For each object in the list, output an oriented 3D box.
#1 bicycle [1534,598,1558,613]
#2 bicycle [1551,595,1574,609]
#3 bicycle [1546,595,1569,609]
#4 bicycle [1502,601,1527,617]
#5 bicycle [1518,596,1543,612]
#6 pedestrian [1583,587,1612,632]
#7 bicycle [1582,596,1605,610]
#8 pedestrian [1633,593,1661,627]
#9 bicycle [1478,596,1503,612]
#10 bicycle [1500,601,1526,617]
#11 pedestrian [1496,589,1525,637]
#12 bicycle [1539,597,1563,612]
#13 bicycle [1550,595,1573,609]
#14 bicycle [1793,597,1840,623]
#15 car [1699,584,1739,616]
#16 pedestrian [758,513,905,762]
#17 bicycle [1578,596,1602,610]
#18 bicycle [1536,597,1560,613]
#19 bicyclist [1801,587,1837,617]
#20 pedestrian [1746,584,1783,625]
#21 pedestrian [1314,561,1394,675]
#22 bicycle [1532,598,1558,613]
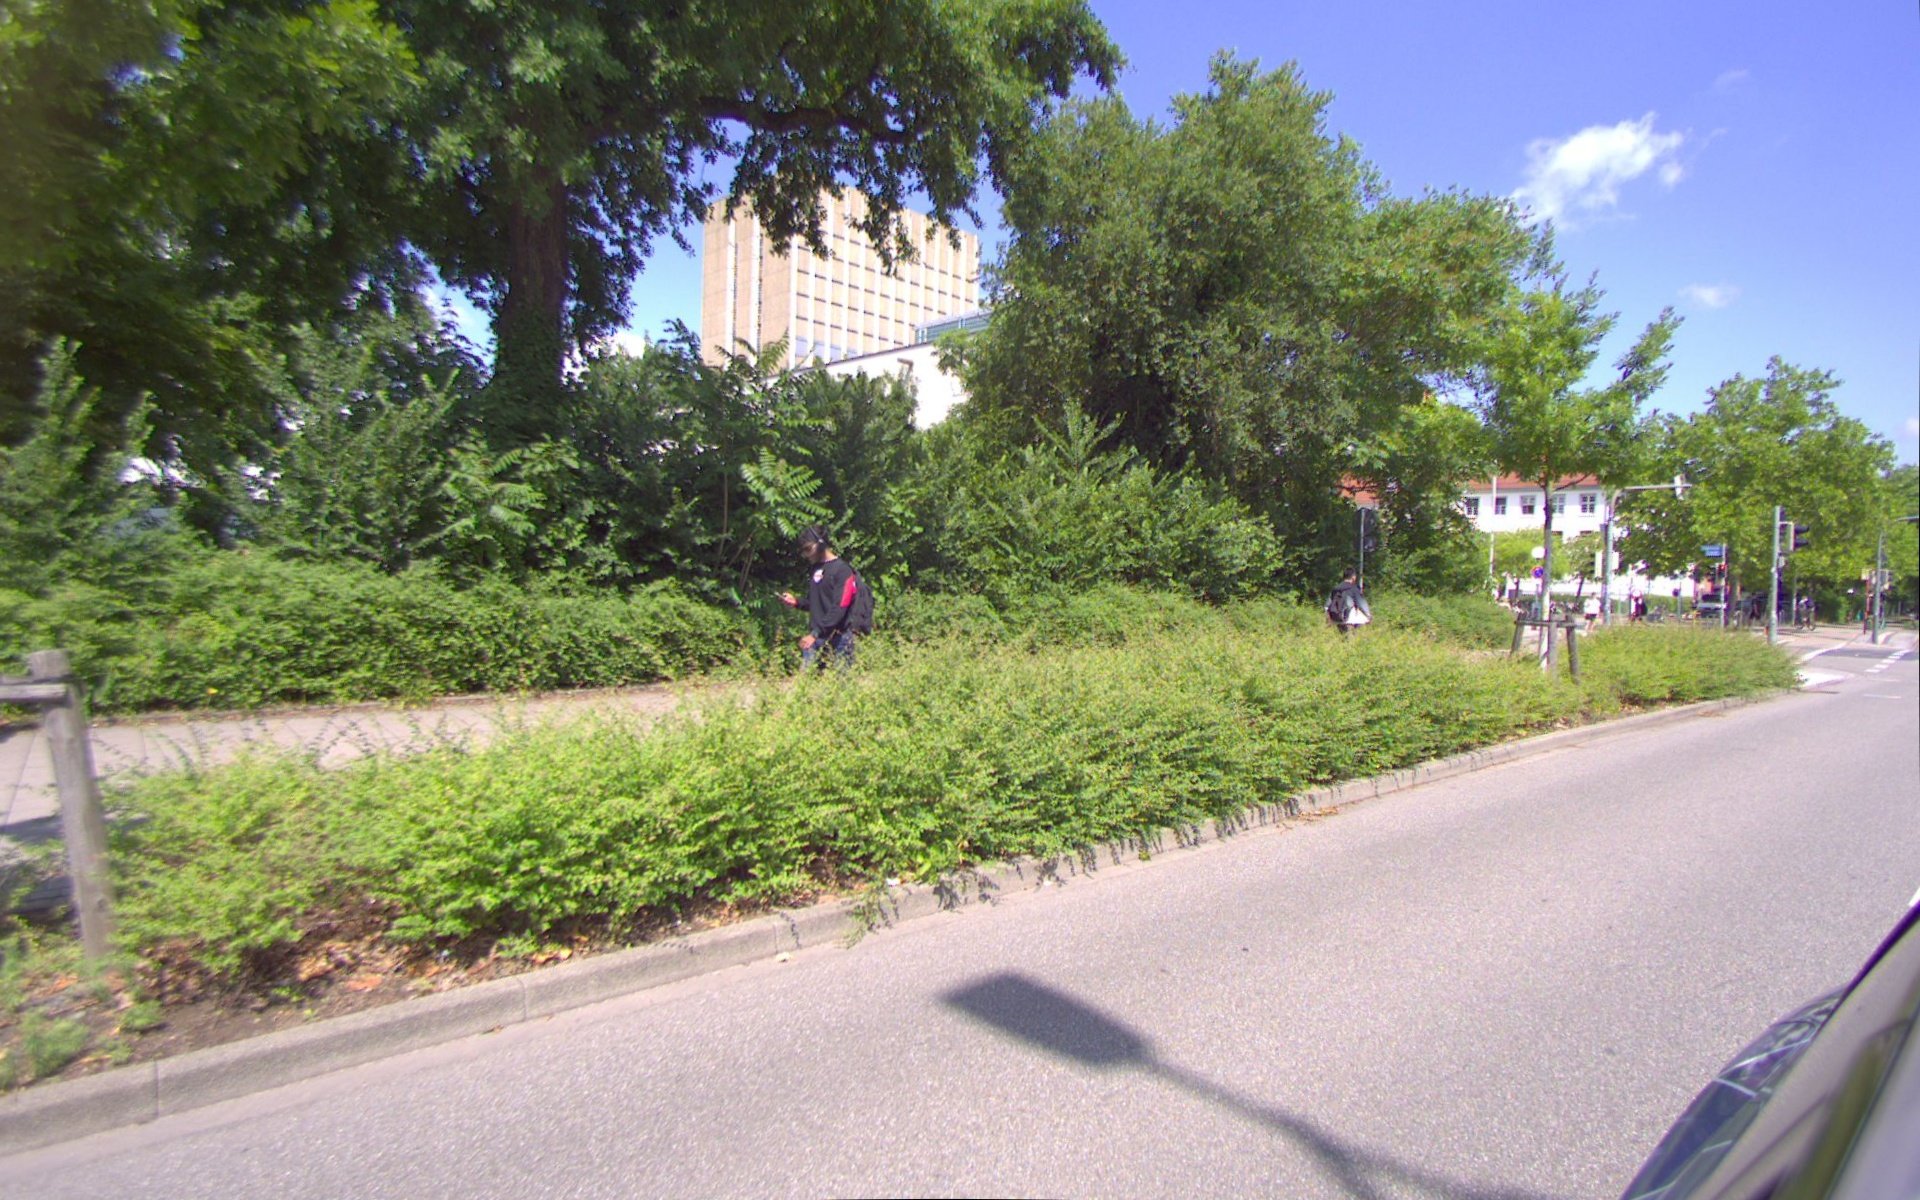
[{"bbox_3d":[39.129,0.362,67.572,1.367,0.963,0.347,2,1,43],"label":"bicycle"},{"bbox_3d":[45.733,0.143,76.865,1.424,0.963,0.347,2,1,43],"label":"bicycle"},{"bbox_3d":[44.949,0.154,76.150,1.424,0.963,0.347,2,1,43],"label":"bicycle"},{"bbox_3d":[35.446,0.573,64.720,1.367,0.958,0.347,2,1,43],"label":"bicycle"},{"bbox_3d":[36.875,0.266,65.417,1.367,0.963,0.347,2,1,43],"label":"bicycle"},{"bbox_3d":[27.531,0.385,43.689,0.876,1.896,0.956,2,1,44],"label":"pedestrian"},{"bbox_3d":[47.352,0.204,75.674,1.424,0.963,0.347,2,1,43],"label":"bicycle"},{"bbox_3d":[33.188,0.474,48.890,1.056,1.617,0.960,1,1,34],"label":"pedestrian"},{"bbox_3d":[34.974,0.259,66.725,1.367,1.013,0.347,2,1,43],"label":"bicycle"},{"bbox_3d":[35.107,0.586,64.261,1.367,0.963,0.347,2,1,43],"label":"bicycle"},{"bbox_3d":[19.531,0.460,35.902,0.632,1.646,0.636,1,1,-6],"label":"pedestrian"},{"bbox_3d":[40.014,0.313,68.513,1.367,0.963,0.347,2,1,43],"label":"bicycle"},{"bbox_3d":[45.472,0.149,76.550,1.424,0.963,0.347,2,1,43],"label":"bicycle"},{"bbox_3d":[43.855,0.494,51.859,0.871,1.267,2.158,1,1,11],"label":"bicycle"},{"bbox_3d":[51.945,-0.030,69.253,1.991,2.080,4.168,2,1,39],"label":"car"},{"bbox_3d":[-0.970,0.252,7.624,0.822,1.743,0.718,0,1,-40],"label":"pedestrian"},{"bbox_3d":[46.616,0.217,74.889,1.424,0.963,0.347,2,1,43],"label":"bicycle"},{"bbox_3d":[39.553,0.335,68.056,1.367,0.963,0.347,2,1,43],"label":"bicycle"},{"bbox_3d":[43.805,0.084,51.611,0.957,1.462,1.073,1,1,12],"label":"bicyclist"},{"bbox_3d":[39.303,0.214,49.447,0.951,1.950,1.034,1,1,-21],"label":"pedestrian"},{"bbox_3d":[6.267,0.261,16.095,0.913,1.743,0.815,0,1,-40],"label":"pedestrian"},{"bbox_3d":[38.128,0.363,65.958,1.367,0.963,0.347,2,1,43],"label":"bicycle"}]
